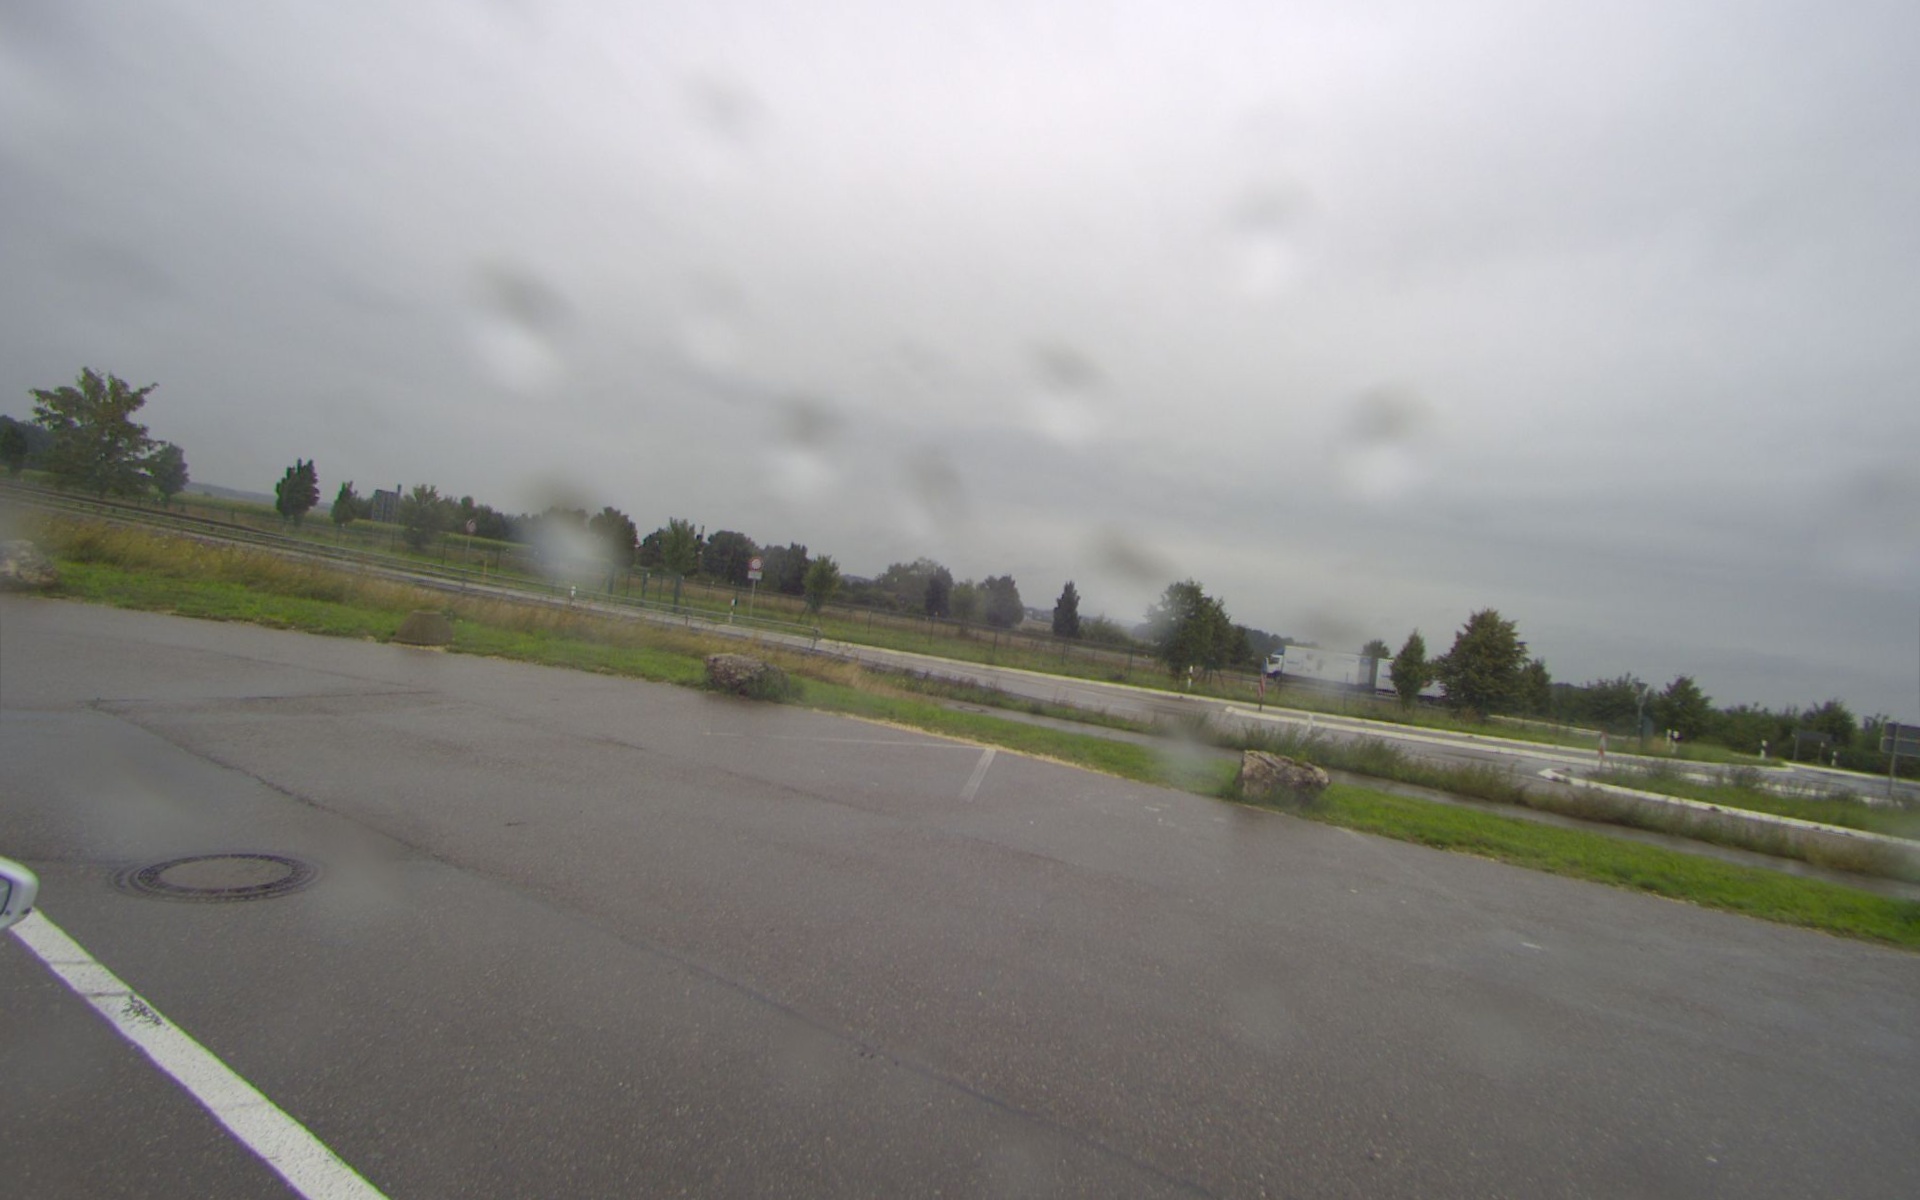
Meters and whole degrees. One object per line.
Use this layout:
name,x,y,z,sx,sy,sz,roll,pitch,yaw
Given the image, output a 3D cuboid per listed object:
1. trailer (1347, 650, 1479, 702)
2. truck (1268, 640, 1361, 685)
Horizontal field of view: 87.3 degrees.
trailer,38.744,6.451,86.452,2.194,2.936,10.016,9,-1,-43
truck,32.660,5.706,92.906,2.171,2.942,7.694,9,-1,-43
